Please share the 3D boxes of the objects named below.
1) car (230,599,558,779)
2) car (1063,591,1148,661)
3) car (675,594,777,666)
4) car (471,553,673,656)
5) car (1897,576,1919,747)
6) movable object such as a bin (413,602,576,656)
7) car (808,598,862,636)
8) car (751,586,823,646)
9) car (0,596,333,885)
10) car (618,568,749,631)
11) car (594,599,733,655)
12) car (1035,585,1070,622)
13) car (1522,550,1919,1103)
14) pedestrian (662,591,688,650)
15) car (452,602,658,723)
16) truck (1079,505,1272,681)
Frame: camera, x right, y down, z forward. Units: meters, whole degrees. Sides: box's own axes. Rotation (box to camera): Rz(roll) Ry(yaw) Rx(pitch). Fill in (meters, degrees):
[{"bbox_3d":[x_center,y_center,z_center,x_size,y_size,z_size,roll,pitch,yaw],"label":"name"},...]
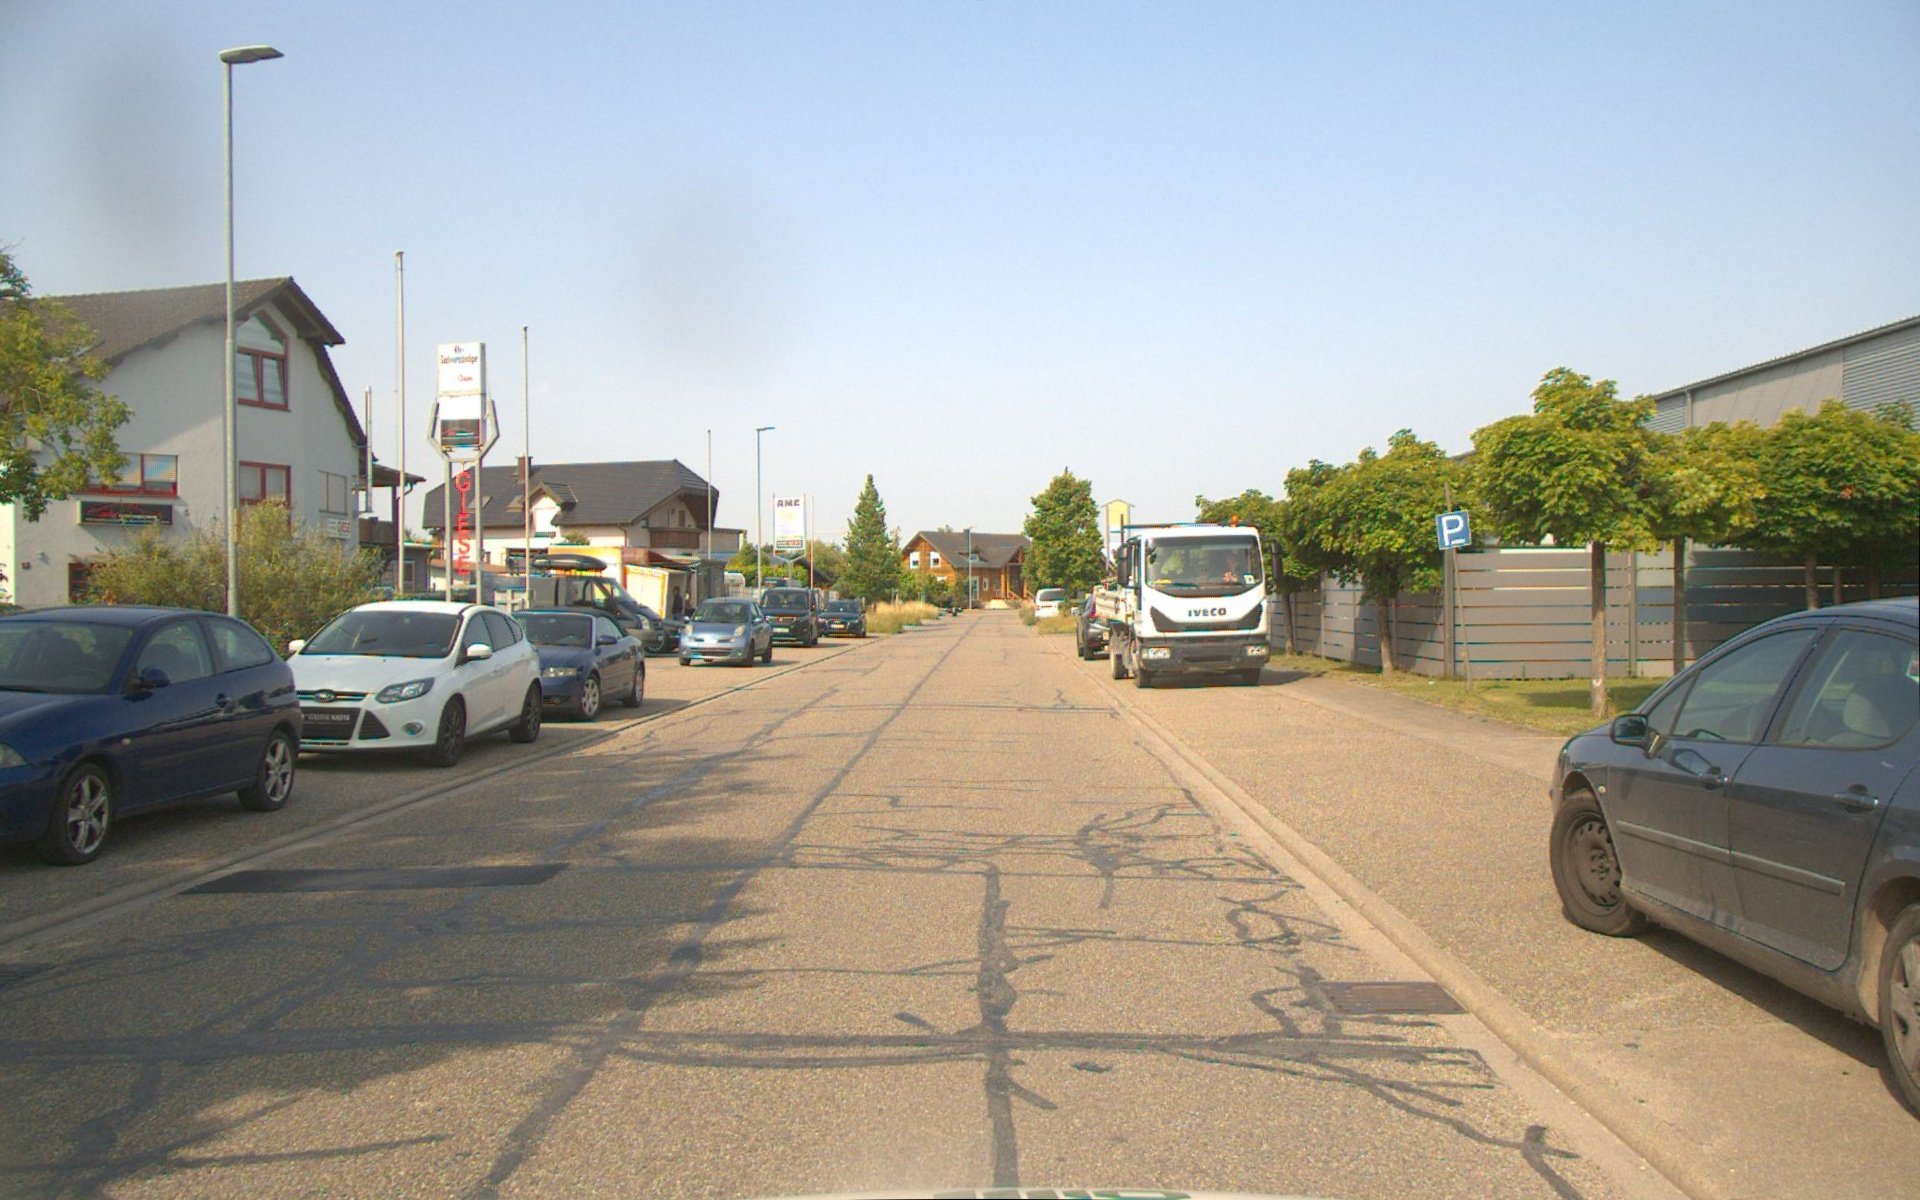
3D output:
[{"bbox_3d":[-5.348,0.755,16.236,1.649,1.495,4.254,1,0,1],"label":"car"},{"bbox_3d":[3.567,0.659,41.254,1.758,1.588,4.000,-2,-1,0],"label":"car"},{"bbox_3d":[-5.340,0.650,38.097,1.599,1.544,3.607,1,0,4],"label":"car"},{"bbox_3d":[-9.688,0.105,41.516,4.530,2.459,2.001,-1,0,3],"label":"car"},{"bbox_3d":[9.668,0.469,14.134,3.661,1.404,1.664,-1,0,-39],"label":"car"},{"bbox_3d":[-11.028,0.668,39.267,3.252,1.167,1.763,1,1,10],"label":"movable object such as a bin"},{"bbox_3d":[-4.873,0.639,64.954,1.763,1.411,3.638,1,0,1],"label":"car"},{"bbox_3d":[-5.439,0.472,52.383,1.763,1.805,4.203,1,0,1],"label":"car"},{"bbox_3d":[-5.633,0.725,10.569,1.545,1.469,3.965,1,0,3],"label":"car"},{"bbox_3d":[-12.239,-0.023,73.279,5.051,2.631,2.577,-1,0,22],"label":"car"},{"bbox_3d":[-8.068,0.726,45.227,3.515,1.439,1.761,-1,0,-2],"label":"car"},{"bbox_3d":[5.094,0.201,91.368,1.799,1.957,3.757,-1,0,1],"label":"car"},{"bbox_3d":[3.566,0.616,5.747,1.757,1.544,4.424,-1,0,1],"label":"car"},{"bbox_3d":[-8.500,0.615,49.358,0.557,1.745,0.527,-1,0,-36],"label":"pedestrian"},{"bbox_3d":[-5.309,0.763,22.245,1.599,1.411,4.370,1,0,1],"label":"car"},{"bbox_3d":[3.633,-0.119,29.320,2.312,2.728,6.508,-1,0,-2],"label":"truck"}]
